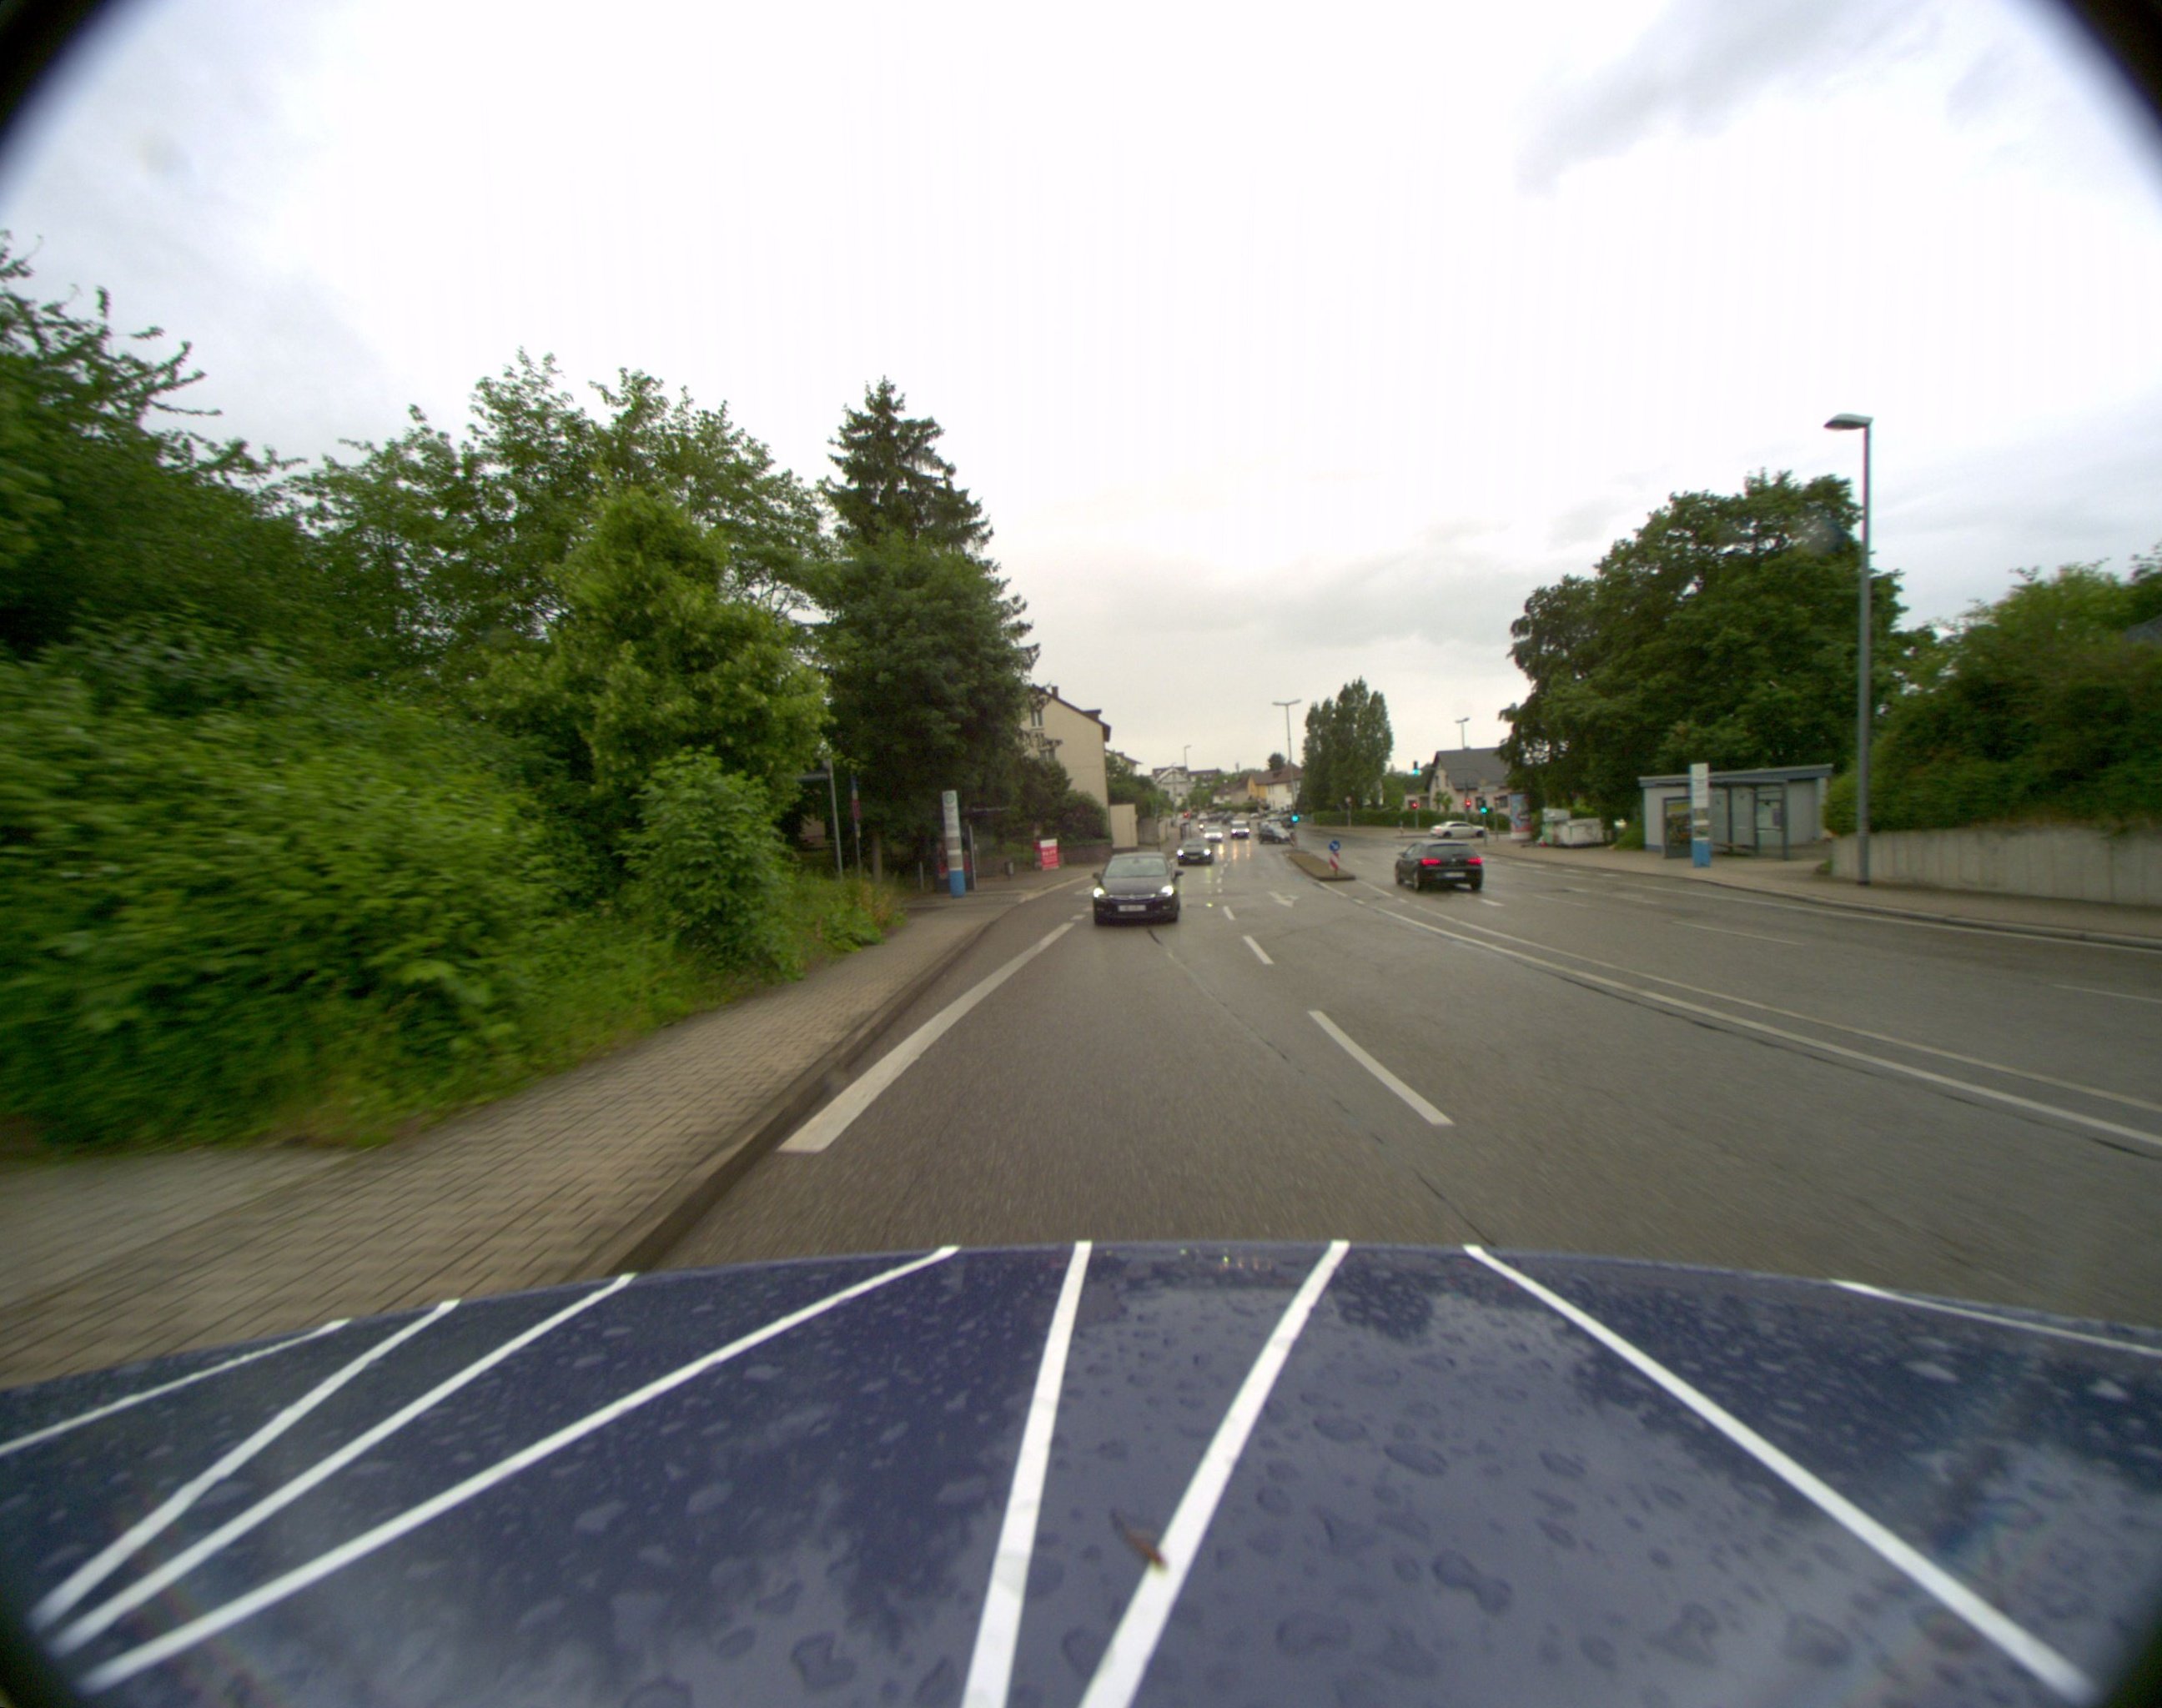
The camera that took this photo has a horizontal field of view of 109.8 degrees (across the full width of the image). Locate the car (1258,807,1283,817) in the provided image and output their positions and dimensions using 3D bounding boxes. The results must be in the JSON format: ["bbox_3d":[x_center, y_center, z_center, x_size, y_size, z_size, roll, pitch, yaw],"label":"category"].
[{"bbox_3d":[34.868,-7.761,140.013,4.108,1.412,1.883,-4,4,4],"label":"car"}]

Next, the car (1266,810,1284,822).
[{"bbox_3d":[27.848,-5.442,109.128,1.809,1.560,4.140,-3,5,4],"label":"car"}]

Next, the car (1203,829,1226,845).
[{"bbox_3d":[13.548,-1.755,77.430,1.840,1.473,3.999,-2,3,4],"label":"car"}]

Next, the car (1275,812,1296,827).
[{"bbox_3d":[27.512,-4.653,102.196,1.809,1.661,4.595,-3,5,4],"label":"car"}]

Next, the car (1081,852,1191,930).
[{"bbox_3d":[1.365,0.731,16.977,1.839,1.390,4.002,-1,2,13],"label":"car"}]

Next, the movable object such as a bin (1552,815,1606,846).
[{"bbox_3d":[27.152,-1.274,41.464,2.060,1.560,1.582,-2,2,15],"label":"movable object such as a bin"}]

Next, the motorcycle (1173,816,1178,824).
[{"bbox_3d":[15.624,-5.609,125.651,0.694,1.318,2.477,-2,4,2],"label":"motorcycle"}]

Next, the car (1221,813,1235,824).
[{"bbox_3d":[24.547,-5.967,127.287,1.845,1.544,4.383,-2,4,6],"label":"car"}]

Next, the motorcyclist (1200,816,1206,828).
[{"bbox_3d":[16.741,-4.382,104.054,0.761,1.594,0.808,-2,5,8],"label":"motorcyclist"}]

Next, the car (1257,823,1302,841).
[{"bbox_3d":[18.089,-2.026,69.432,1.842,1.479,4.049,-5,4,-22],"label":"car"}]

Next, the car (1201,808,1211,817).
[{"bbox_3d":[26.122,-8.730,158.985,1.840,1.548,4.768,-2,4,6],"label":"car"}]

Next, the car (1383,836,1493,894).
[{"bbox_3d":[10.535,0.254,22.753,1.895,1.479,4.236,-2,2,9],"label":"car"}]

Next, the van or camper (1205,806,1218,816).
[{"bbox_3d":[30.276,-10.025,176.572,2.189,2.003,5.130,-3,5,2],"label":"van or camper"}]

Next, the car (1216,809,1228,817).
[{"bbox_3d":[29.936,-8.668,161.034,1.809,1.506,3.997,-2,4,0],"label":"car"}]

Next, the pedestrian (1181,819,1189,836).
[{"bbox_3d":[11.580,-2.978,84.554,0.795,1.771,1.011,-1,5,10],"label":"pedestrian"}]

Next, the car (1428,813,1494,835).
[{"bbox_3d":[32.404,-2.578,64.924,4.646,1.520,1.914,-2,4,6],"label":"car"}]

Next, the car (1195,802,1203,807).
[{"bbox_3d":[35.826,-15.058,230.871,1.998,1.566,3.998,-3,5,4],"label":"car"}]

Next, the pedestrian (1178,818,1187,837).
[{"bbox_3d":[11.022,-2.927,82.614,0.798,2.003,0.734,-3,5,10],"label":"pedestrian"}]

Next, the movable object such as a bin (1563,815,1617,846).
[{"bbox_3d":[26.784,-1.249,40.035,2.060,1.506,1.345,-2,2,15],"label":"movable object such as a bin"}]

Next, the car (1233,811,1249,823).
[{"bbox_3d":[24.427,-5.692,116.067,1.903,1.674,4.478,-2,4,5],"label":"car"}]

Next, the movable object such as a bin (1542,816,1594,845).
[{"bbox_3d":[27.533,-1.326,43.017,2.060,1.560,1.582,-2,2,15],"label":"movable object such as a bin"}]

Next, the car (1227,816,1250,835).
[{"bbox_3d":[17.049,-3.124,82.281,1.955,1.861,4.745,-2,4,7],"label":"car"}]

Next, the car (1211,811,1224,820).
[{"bbox_3d":[25.834,-7.387,144.256,1.998,1.566,3.998,-2,5,5],"label":"car"}]

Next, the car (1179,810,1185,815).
[{"bbox_3d":[32.363,-13.202,243.620,1.837,1.522,3.998,-2,4,4],"label":"car"}]

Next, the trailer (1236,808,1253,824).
[{"bbox_3d":[24.085,-5.638,111.829,1.900,2.167,4.035,-2,3,5],"label":"trailer"}]

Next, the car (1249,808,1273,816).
[{"bbox_3d":[34.548,-8.129,145.949,4.110,1.476,1.838,1,3,-4],"label":"car"}]

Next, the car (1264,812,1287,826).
[{"bbox_3d":[24.684,-4.524,96.564,1.828,1.648,4.464,-2,4,2],"label":"car"}]

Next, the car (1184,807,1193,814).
[{"bbox_3d":[25.792,-10.484,182.072,1.716,1.495,3.997,-3,4,3],"label":"car"}]

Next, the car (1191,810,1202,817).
[{"bbox_3d":[26.505,-9.292,174.162,1.857,1.456,3.998,-3,4,2],"label":"car"}]

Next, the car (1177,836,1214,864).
[{"bbox_3d":[6.663,-0.242,43.981,1.839,1.448,4.003,-2,0,12],"label":"car"}]

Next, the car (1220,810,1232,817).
[{"bbox_3d":[29.686,-8.310,155.762,1.809,1.408,3.997,-2,4,0],"label":"car"}]
